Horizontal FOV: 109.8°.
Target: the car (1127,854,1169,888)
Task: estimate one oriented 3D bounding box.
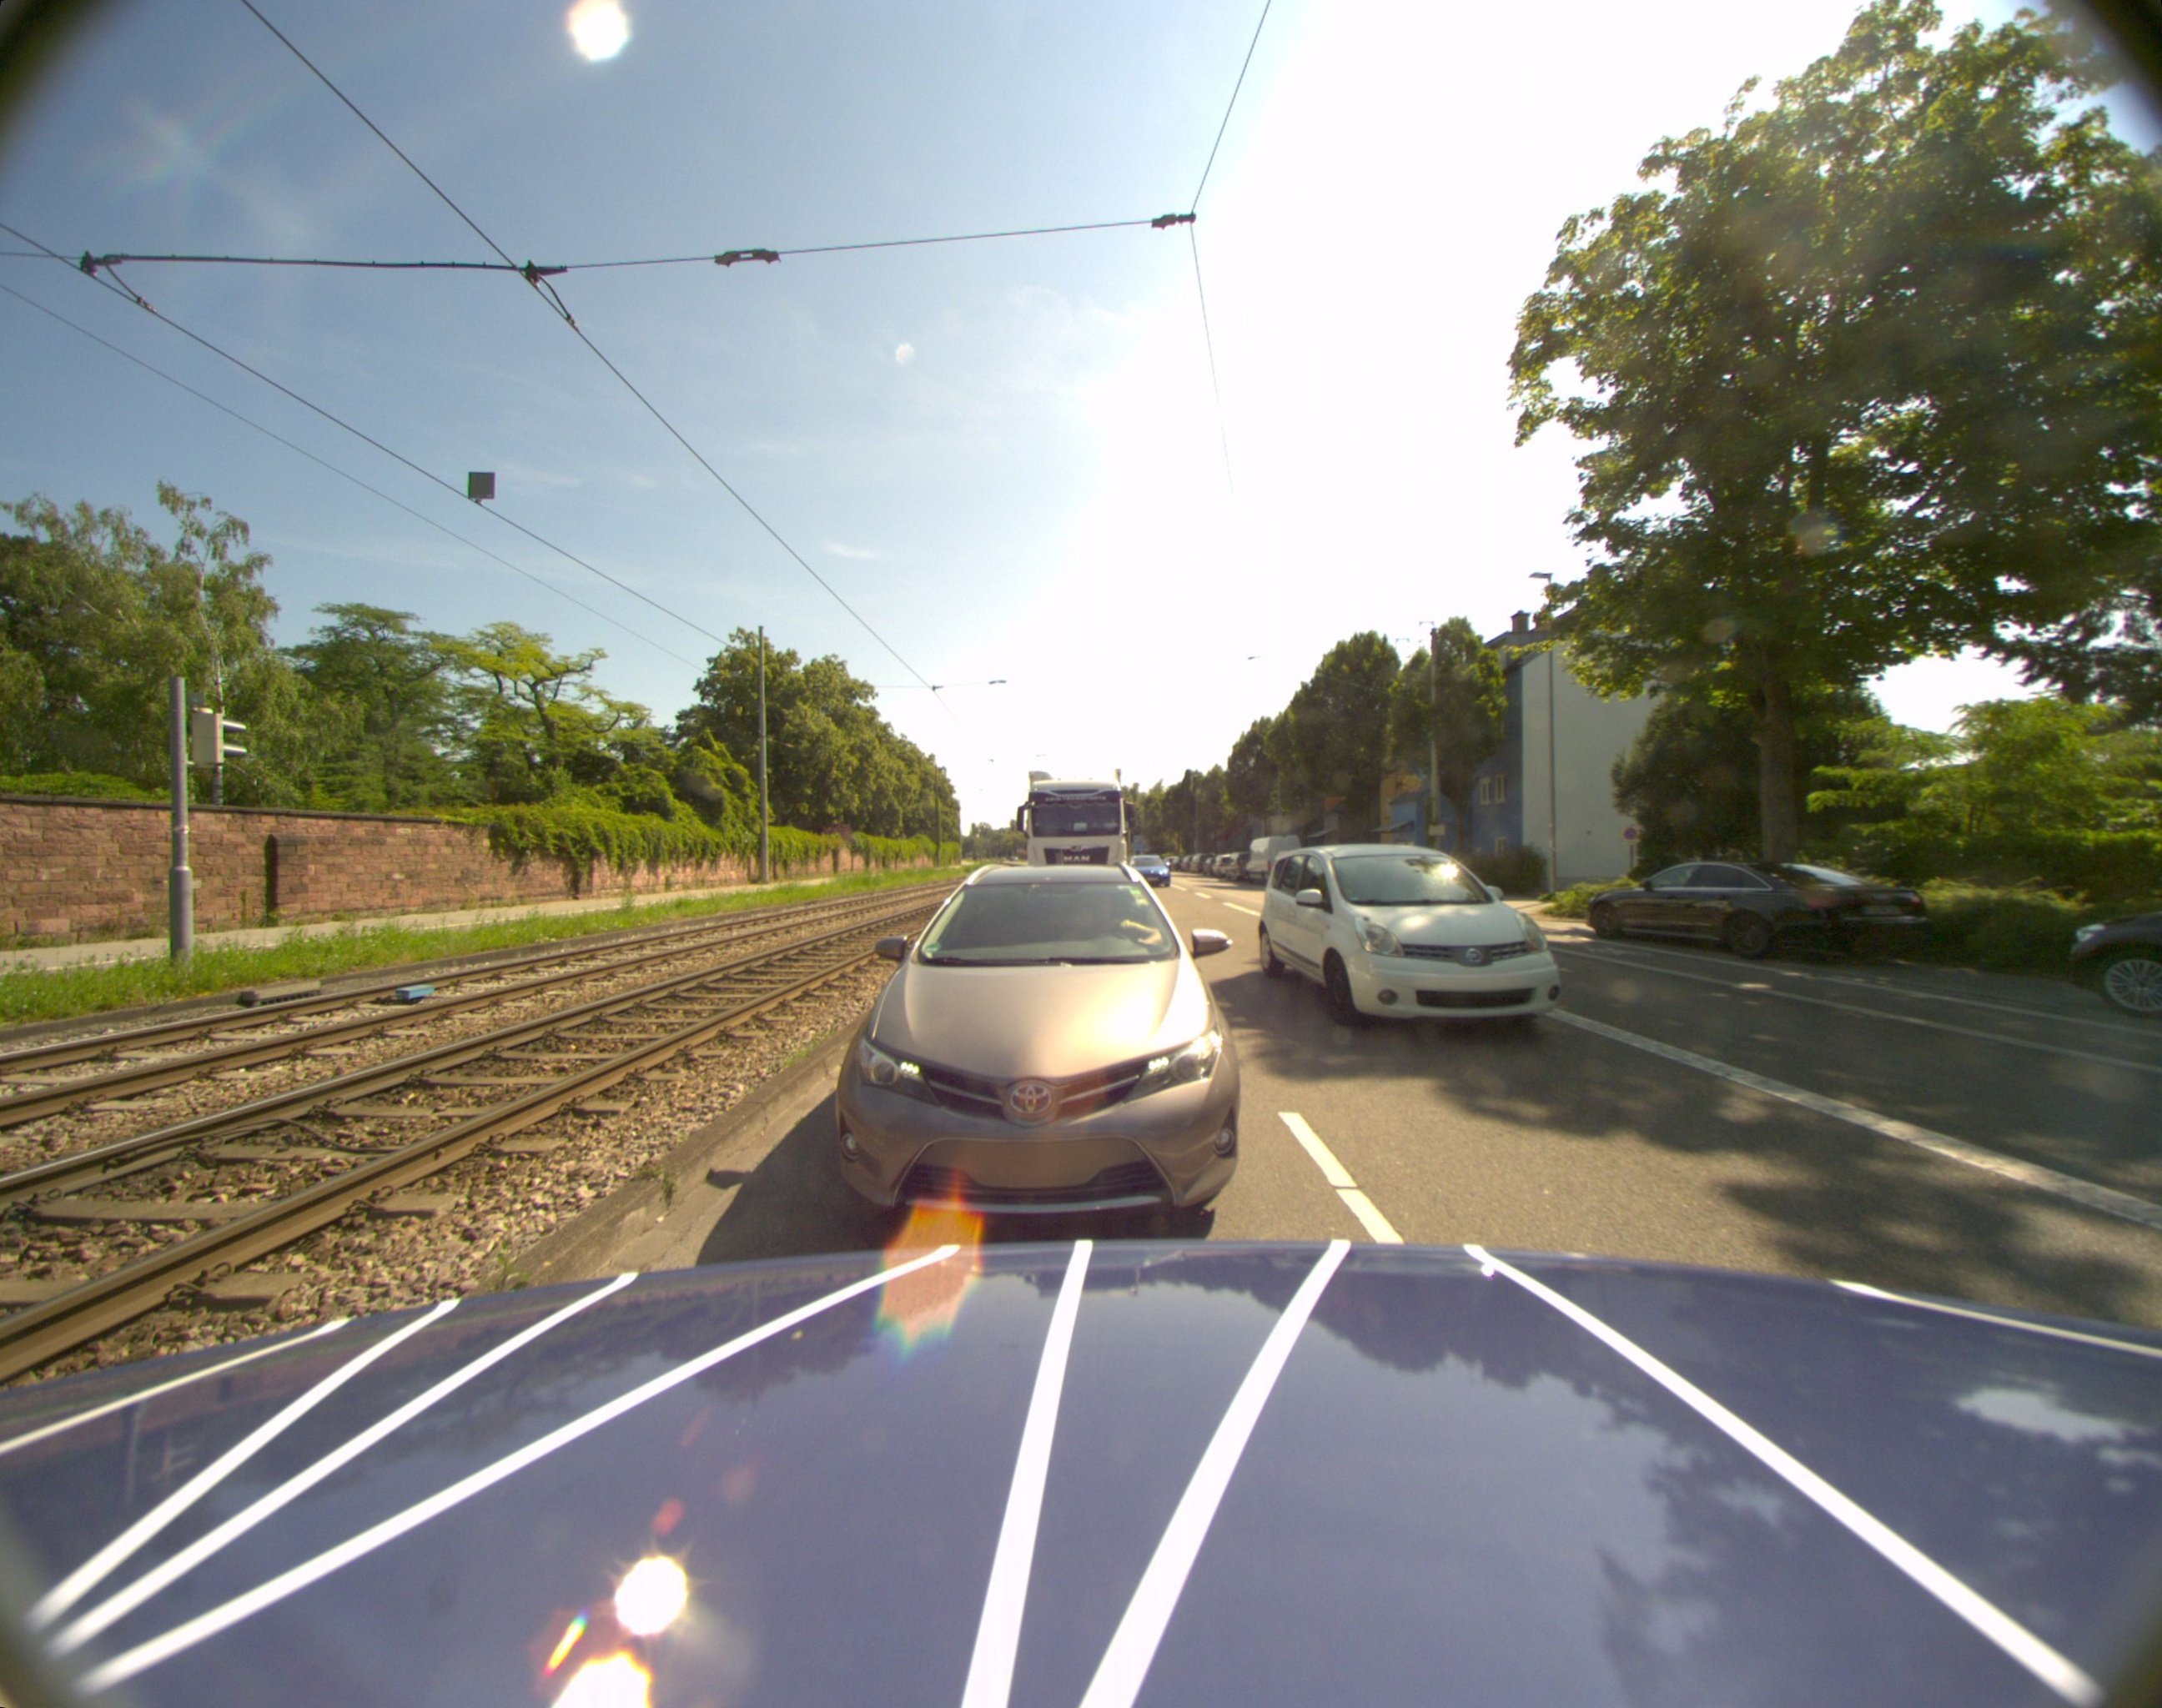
[{"bbox_3d":[3.113,0.741,35.841,1.659,1.517,3.792,0,0,0],"label":"car"}]

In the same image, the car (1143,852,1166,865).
[{"bbox_3d":[9.394,0.571,97.253,1.911,1.567,4.929,-2,1,-6],"label":"car"}]

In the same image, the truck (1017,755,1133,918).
[{"bbox_3d":[-0.063,-0.437,24.307,2.805,3.926,11.943,0,0,1],"label":"truck"}]

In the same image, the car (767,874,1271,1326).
[{"bbox_3d":[-0.187,0.941,5.209,1.747,1.421,5.041,-1,0,1],"label":"car"}]

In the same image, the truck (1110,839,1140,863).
[{"bbox_3d":[6.716,-0.452,117.069,3.165,3.533,8.779,0,0,-6],"label":"truck"}]

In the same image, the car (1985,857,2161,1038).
[{"bbox_3d":[10.558,0.847,5.693,1.766,1.596,4.893,-1,0,0],"label":"car"}]

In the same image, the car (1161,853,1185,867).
[{"bbox_3d":[10.326,0.648,85.744,1.682,1.437,4.835,-2,1,-6],"label":"car"}]

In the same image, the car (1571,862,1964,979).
[{"bbox_3d":[10.614,0.892,12.434,1.845,1.457,4.908,0,0,-3],"label":"car"}]

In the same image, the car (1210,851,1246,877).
[{"bbox_3d":[11.021,0.732,57.178,1.853,1.693,4.540,-4,1,1],"label":"car"}]

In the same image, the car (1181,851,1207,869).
[{"bbox_3d":[10.780,0.524,72.727,1.681,1.598,4.164,-2,1,-3],"label":"car"}]

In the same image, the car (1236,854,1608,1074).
[{"bbox_3d":[2.939,0.803,7.743,1.784,1.538,4.394,-2,0,0],"label":"car"}]

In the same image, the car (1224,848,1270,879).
[{"bbox_3d":[11.201,0.629,51.675,1.998,1.855,4.966,-5,0,1],"label":"car"}]

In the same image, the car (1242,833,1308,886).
[{"bbox_3d":[10.992,0.274,43.601,1.998,2.661,7.086,-4,0,1],"label":"car"}]

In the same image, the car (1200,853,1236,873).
[{"bbox_3d":[11.202,0.709,62.394,1.871,1.447,4.074,-4,1,-3],"label":"car"}]

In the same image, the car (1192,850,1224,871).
[{"bbox_3d":[11.240,0.560,67.680,1.834,1.718,4.348,-3,1,-3],"label":"car"}]

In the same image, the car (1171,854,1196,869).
[{"bbox_3d":[10.604,0.744,79.007,1.681,1.462,4.212,-2,1,-4],"label":"car"}]
